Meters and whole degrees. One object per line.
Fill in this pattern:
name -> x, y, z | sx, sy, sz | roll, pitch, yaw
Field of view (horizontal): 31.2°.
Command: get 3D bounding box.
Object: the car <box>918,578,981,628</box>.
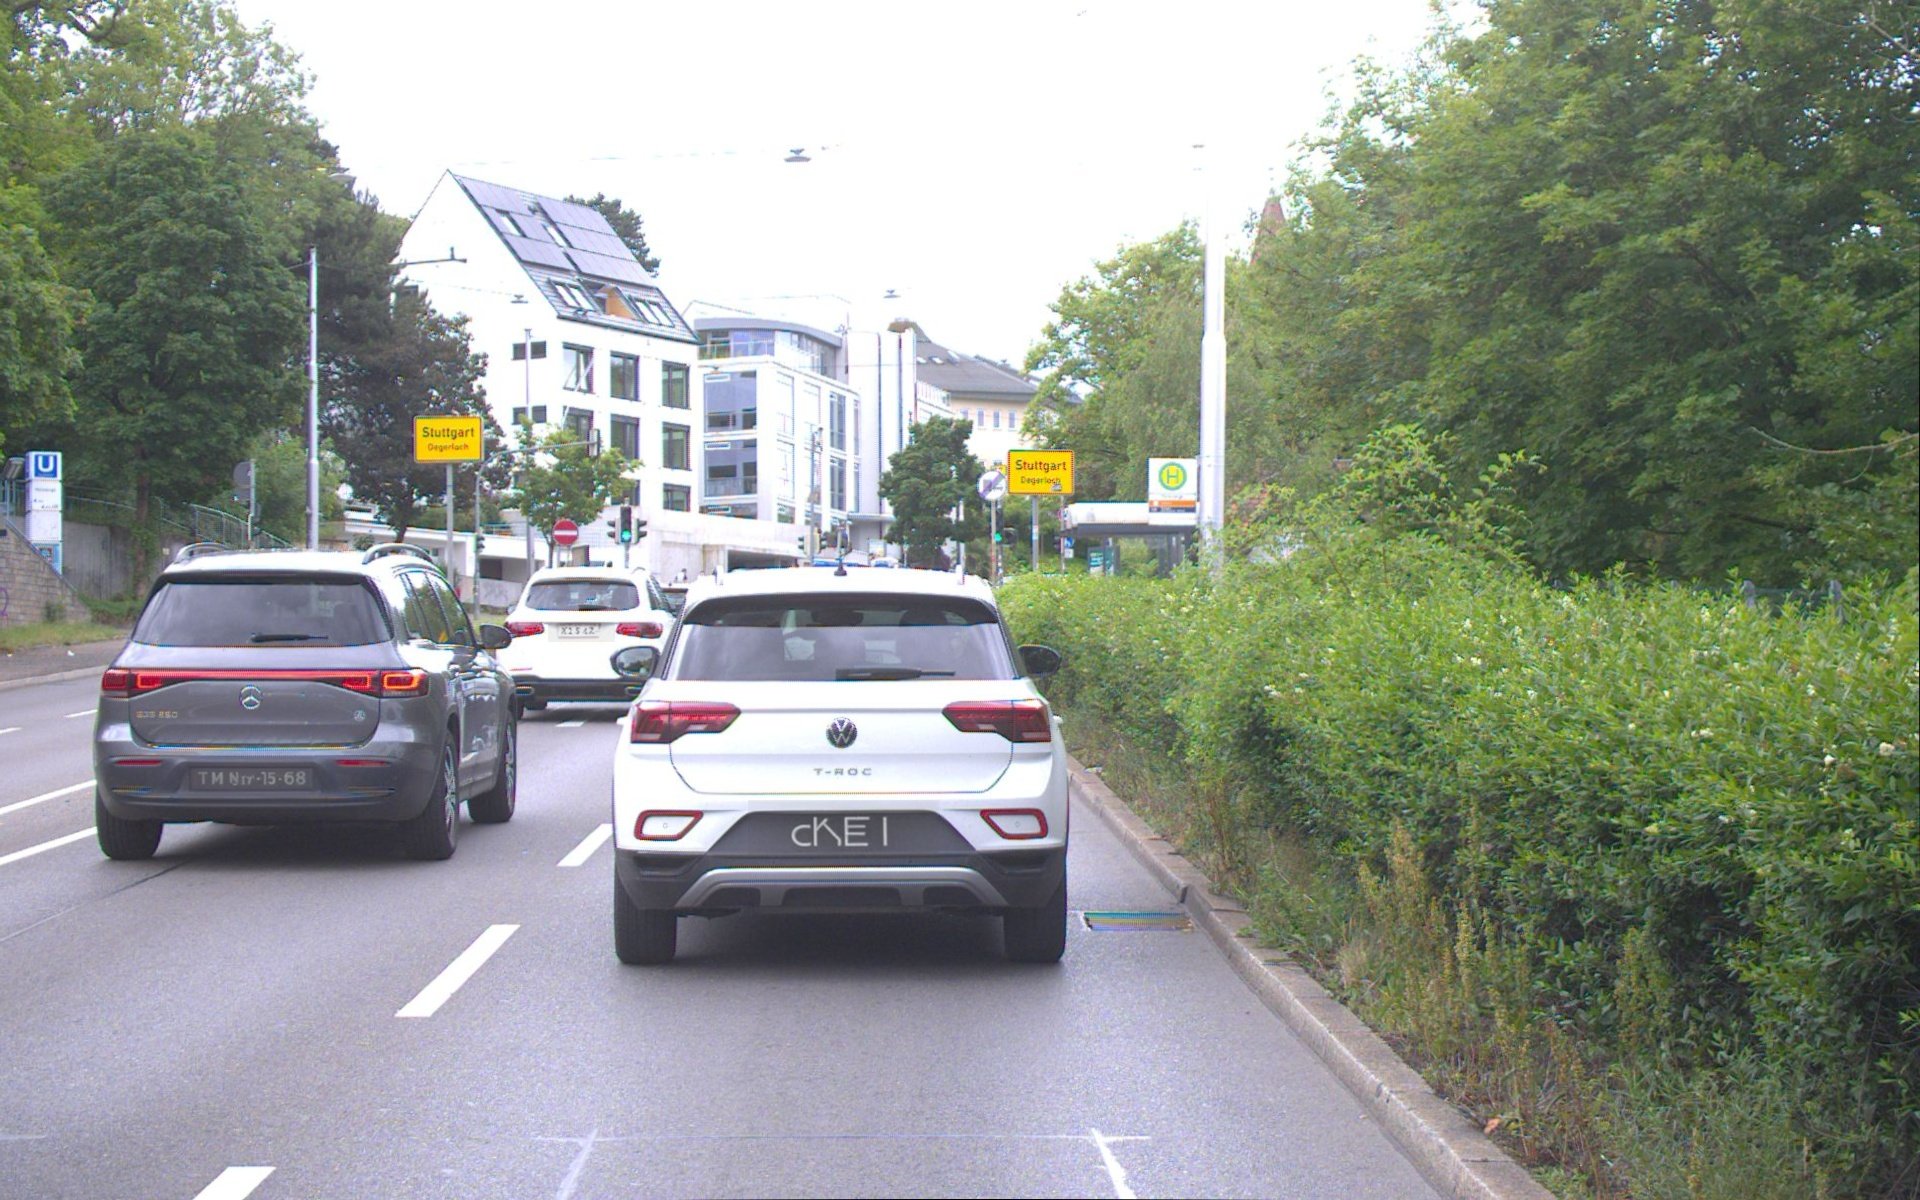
car -> -0.344, 0.072, 106.997 | 1.858, 1.495, 4.056 | -1, 0, -2

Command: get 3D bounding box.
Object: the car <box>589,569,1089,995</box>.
car -> -0.527, 0.653, 14.423 | 1.811, 1.534, 3.690 | -1, 0, -3

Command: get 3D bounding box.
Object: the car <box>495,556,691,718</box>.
car -> -3.976, 0.368, 37.876 | 1.858, 1.646, 4.636 | -1, 0, -3

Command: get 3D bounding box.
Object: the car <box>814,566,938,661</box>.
car -> -1.413, 0.220, 59.529 | 1.873, 1.496, 4.555 | 3, 0, 1

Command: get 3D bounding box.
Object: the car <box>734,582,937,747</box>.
car -> -1.243, 0.587, 33.764 | 1.858, 1.495, 4.056 | -1, 0, -3

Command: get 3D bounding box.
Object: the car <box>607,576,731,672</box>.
car -> -4.701, 0.367, 55.995 | 1.858, 1.495, 4.056 | -1, 0, -3

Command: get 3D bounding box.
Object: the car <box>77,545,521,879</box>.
car -> -3.600, 0.545, 19.508 | 1.812, 1.646, 4.636 | -1, 0, -3

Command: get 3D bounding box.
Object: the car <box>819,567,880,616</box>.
car -> -3.508, -0.268, 108.466 | 1.858, 1.495, 4.056 | -1, 0, -3

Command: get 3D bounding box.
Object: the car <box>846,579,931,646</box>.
car -> -1.679, 0.264, 79.954 | 1.858, 1.495, 4.056 | -1, 0, -3

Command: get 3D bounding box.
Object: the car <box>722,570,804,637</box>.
car -> -4.562, 0.062, 79.938 | 1.858, 1.495, 4.056 | -1, 0, -3

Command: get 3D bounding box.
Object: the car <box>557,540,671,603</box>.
car -> -14.246, -1.177, 142.082 | 2.233, 2.559, 7.417 | 0, 0, 15
